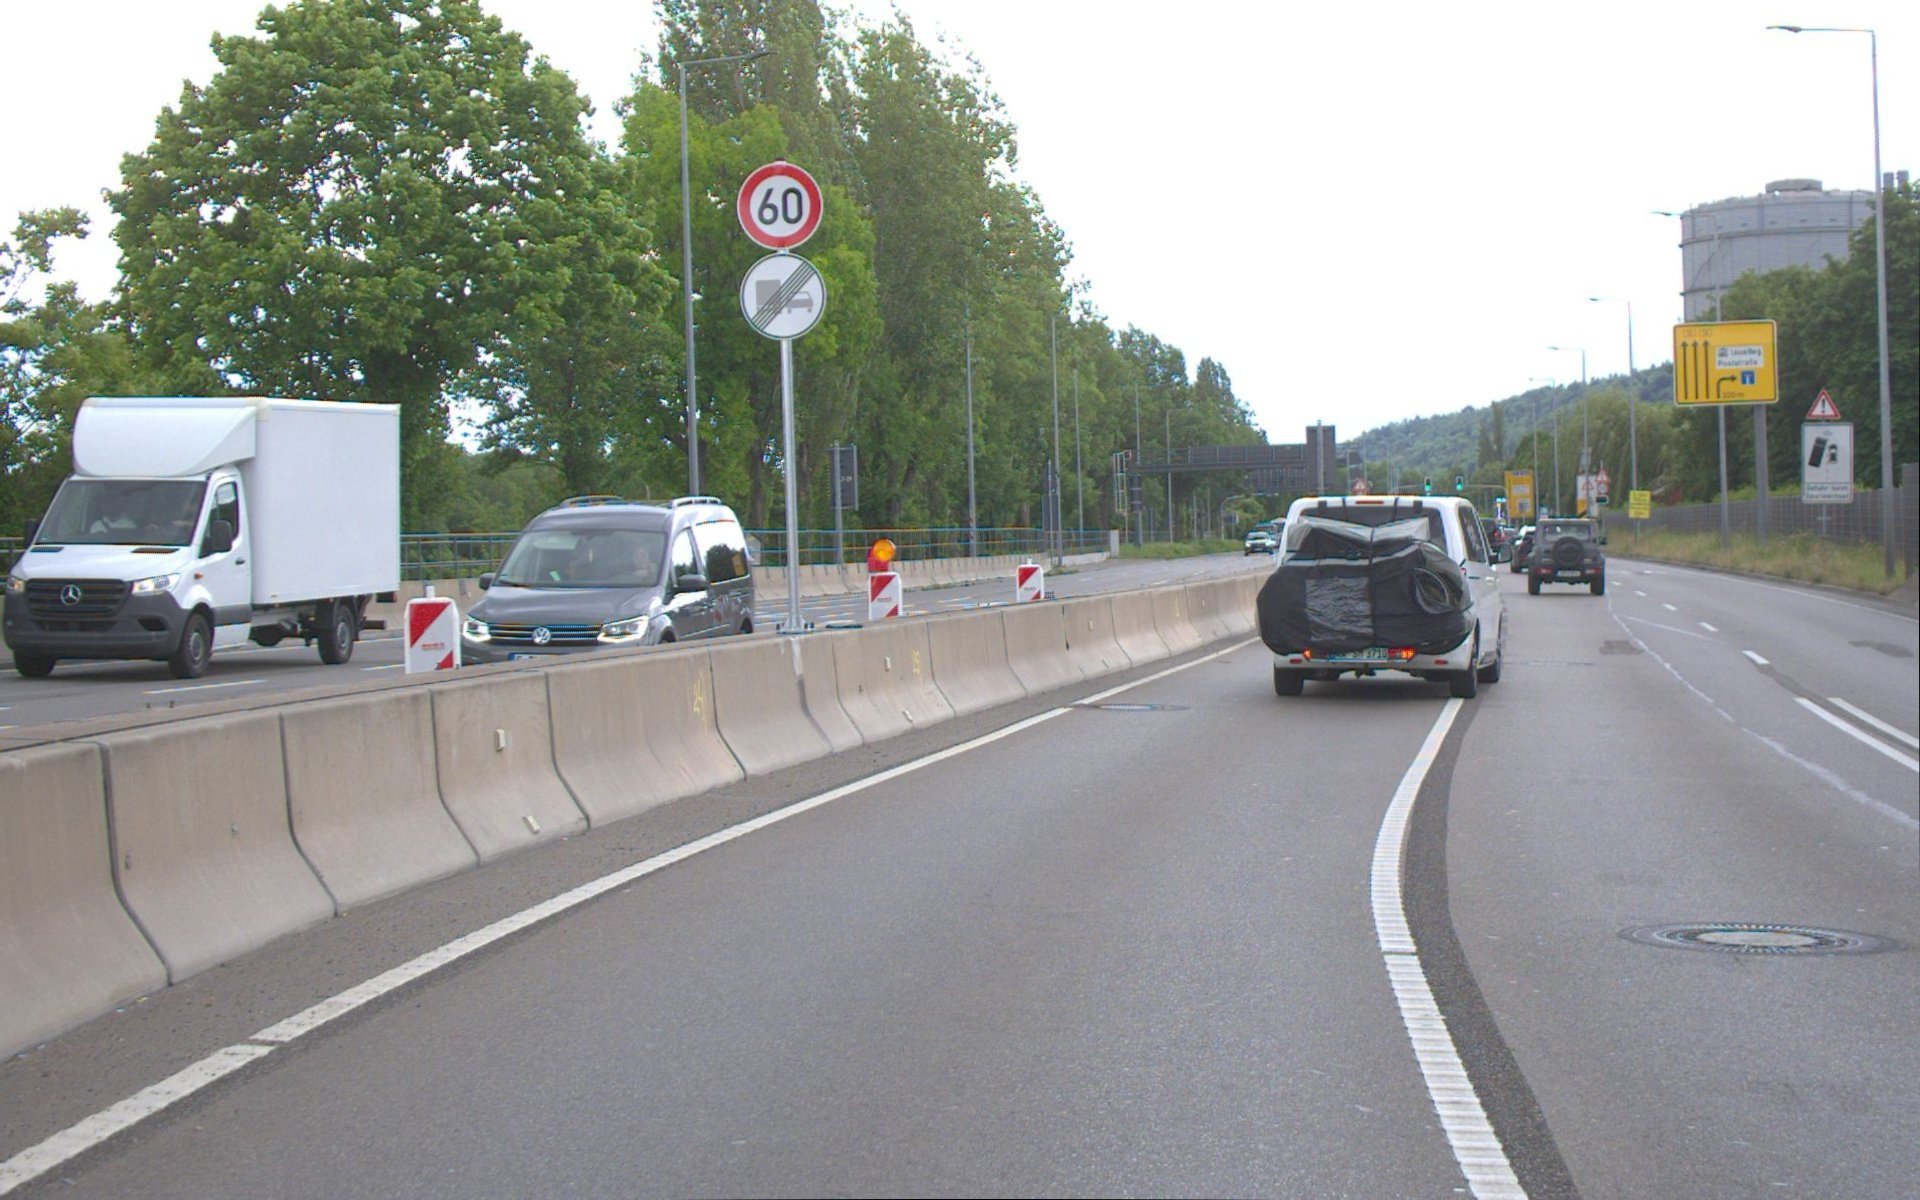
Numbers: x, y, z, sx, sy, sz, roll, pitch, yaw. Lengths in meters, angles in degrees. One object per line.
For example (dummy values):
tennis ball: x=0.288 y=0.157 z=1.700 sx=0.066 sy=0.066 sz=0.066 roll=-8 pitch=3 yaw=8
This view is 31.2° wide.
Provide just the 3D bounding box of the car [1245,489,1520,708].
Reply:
car: x=4.131 y=-0.081 z=32.778 sx=1.994 sy=1.852 sz=5.638 roll=2 pitch=2 yaw=13

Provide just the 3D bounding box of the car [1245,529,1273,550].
car: x=19.084 y=-3.863 z=219.405 sx=1.733 sy=1.369 sz=3.616 roll=0 pitch=1 yaw=5

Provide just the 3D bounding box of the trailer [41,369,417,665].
trailer: x=-8.235 y=-0.923 z=39.410 sx=2.273 sy=3.127 sz=5.709 roll=1 pitch=1 yaw=9

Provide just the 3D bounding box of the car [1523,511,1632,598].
car: x=13.744 y=-0.993 z=76.742 sx=1.994 sy=1.853 sz=3.999 roll=-1 pitch=0 yaw=5

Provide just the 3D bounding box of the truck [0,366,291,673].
truck: x=-8.720 y=-0.843 z=36.457 sx=2.273 sy=3.103 sz=2.986 roll=1 pitch=1 yaw=9

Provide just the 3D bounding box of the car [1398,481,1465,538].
car: x=14.598 y=-2.784 z=106.471 sx=1.994 sy=1.667 sz=3.999 roll=1 pitch=0 yaw=8

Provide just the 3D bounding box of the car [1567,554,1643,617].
car: x=20.093 y=-0.441 z=107.194 sx=1.994 sy=1.897 sz=3.999 roll=-1 pitch=0 yaw=6

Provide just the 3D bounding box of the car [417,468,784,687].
car: x=-3.112 y=-0.220 z=30.919 sx=1.902 sy=1.799 sz=4.952 roll=-1 pitch=1 yaw=11
